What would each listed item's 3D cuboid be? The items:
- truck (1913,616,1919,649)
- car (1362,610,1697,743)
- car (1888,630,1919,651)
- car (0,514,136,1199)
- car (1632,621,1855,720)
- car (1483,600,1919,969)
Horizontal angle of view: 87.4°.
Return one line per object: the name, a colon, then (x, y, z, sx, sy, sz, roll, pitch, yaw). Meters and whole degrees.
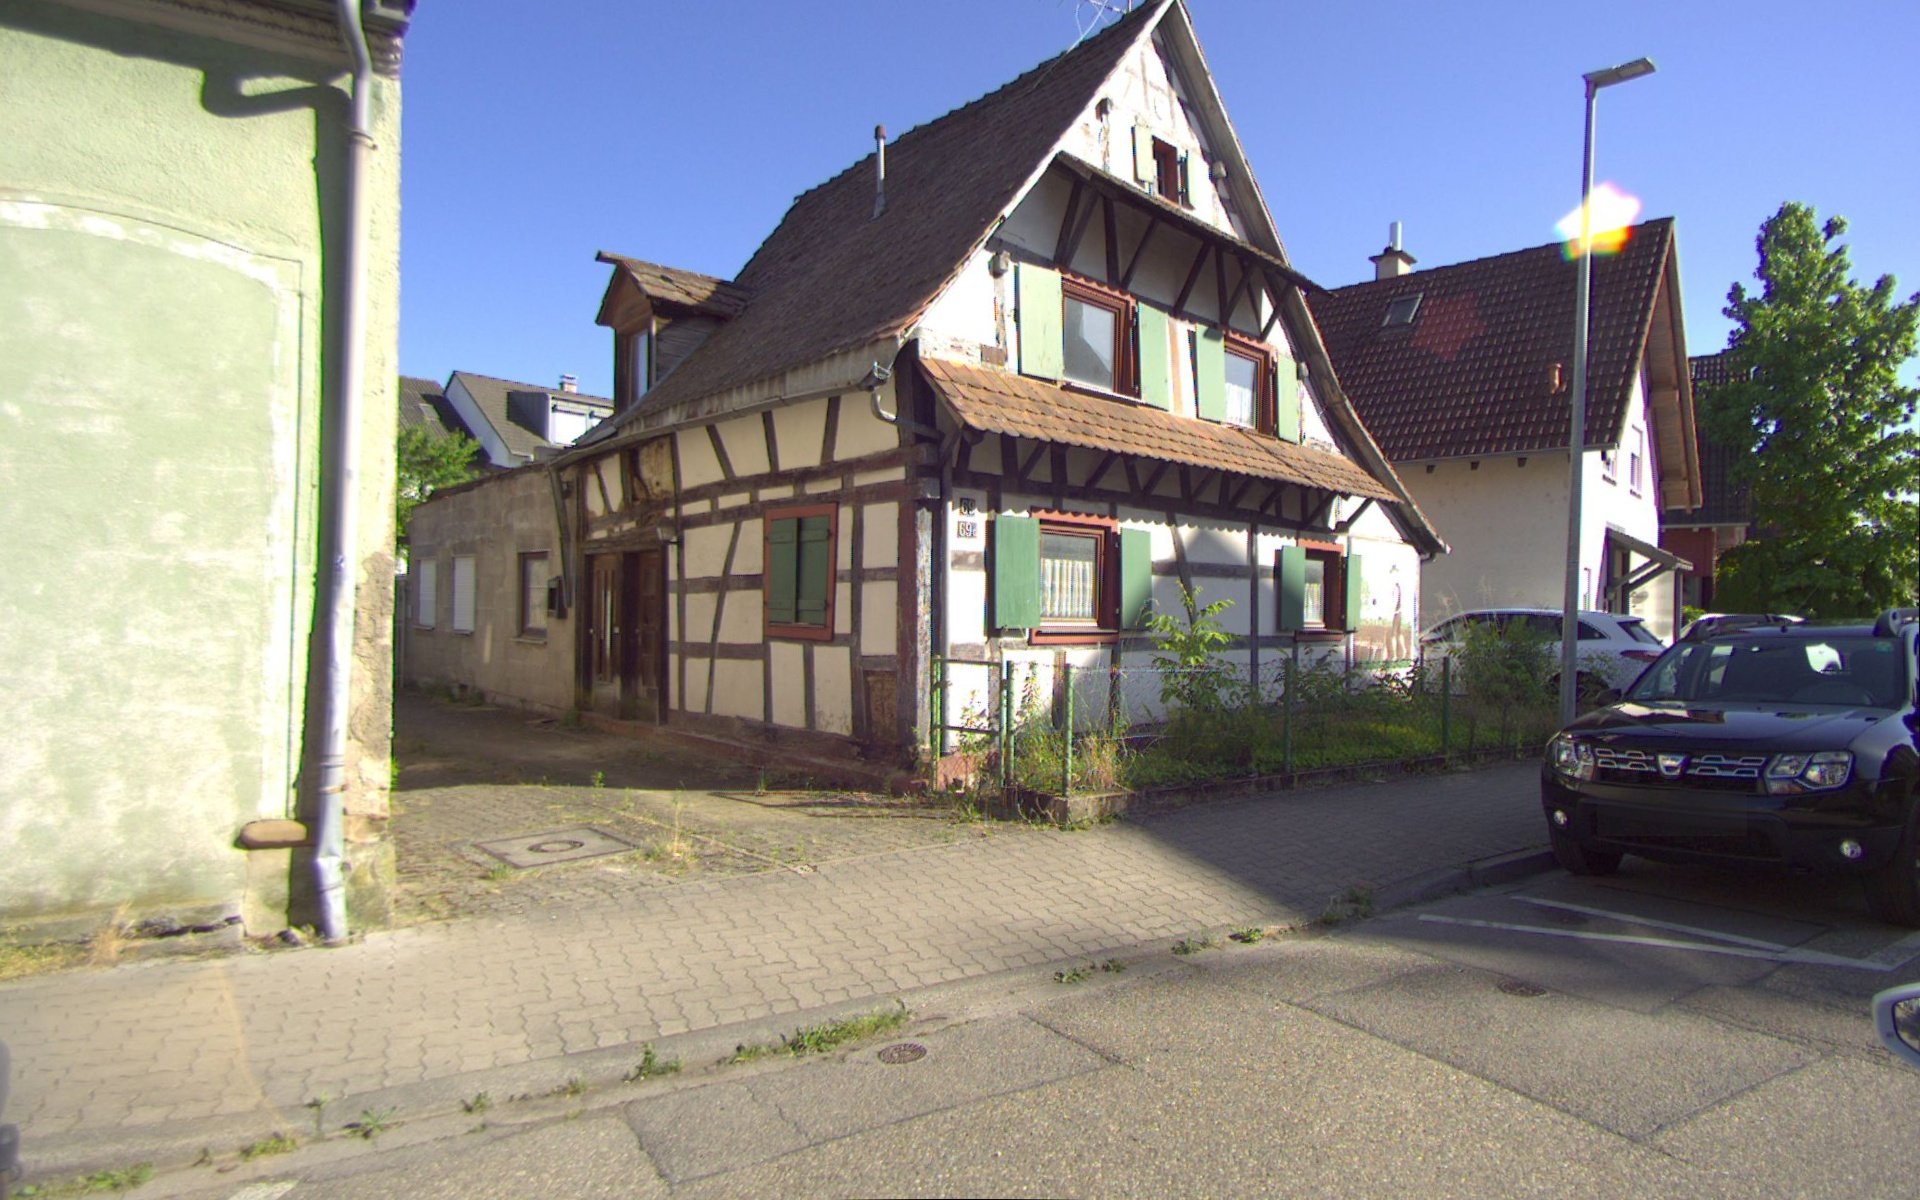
truck: (85.520, 2.898, 88.045, 5.736, 2.906, 2.249, 2, -2, -40)
car: (8.248, 0.985, 14.720, 3.942, 1.610, 1.989, 1, 0, 42)
car: (71.331, 3.019, 75.523, 4.074, 1.525, 1.852, 2, -2, -40)
car: (-3.825, 0.752, 1.027, 4.298, 1.812, 1.826, 0, -4, -28)
car: (14.545, 1.218, 18.600, 4.394, 1.617, 1.808, 1, -1, -31)
car: (5.528, 0.960, 6.634, 4.308, 1.692, 1.822, 2, -5, -34)
